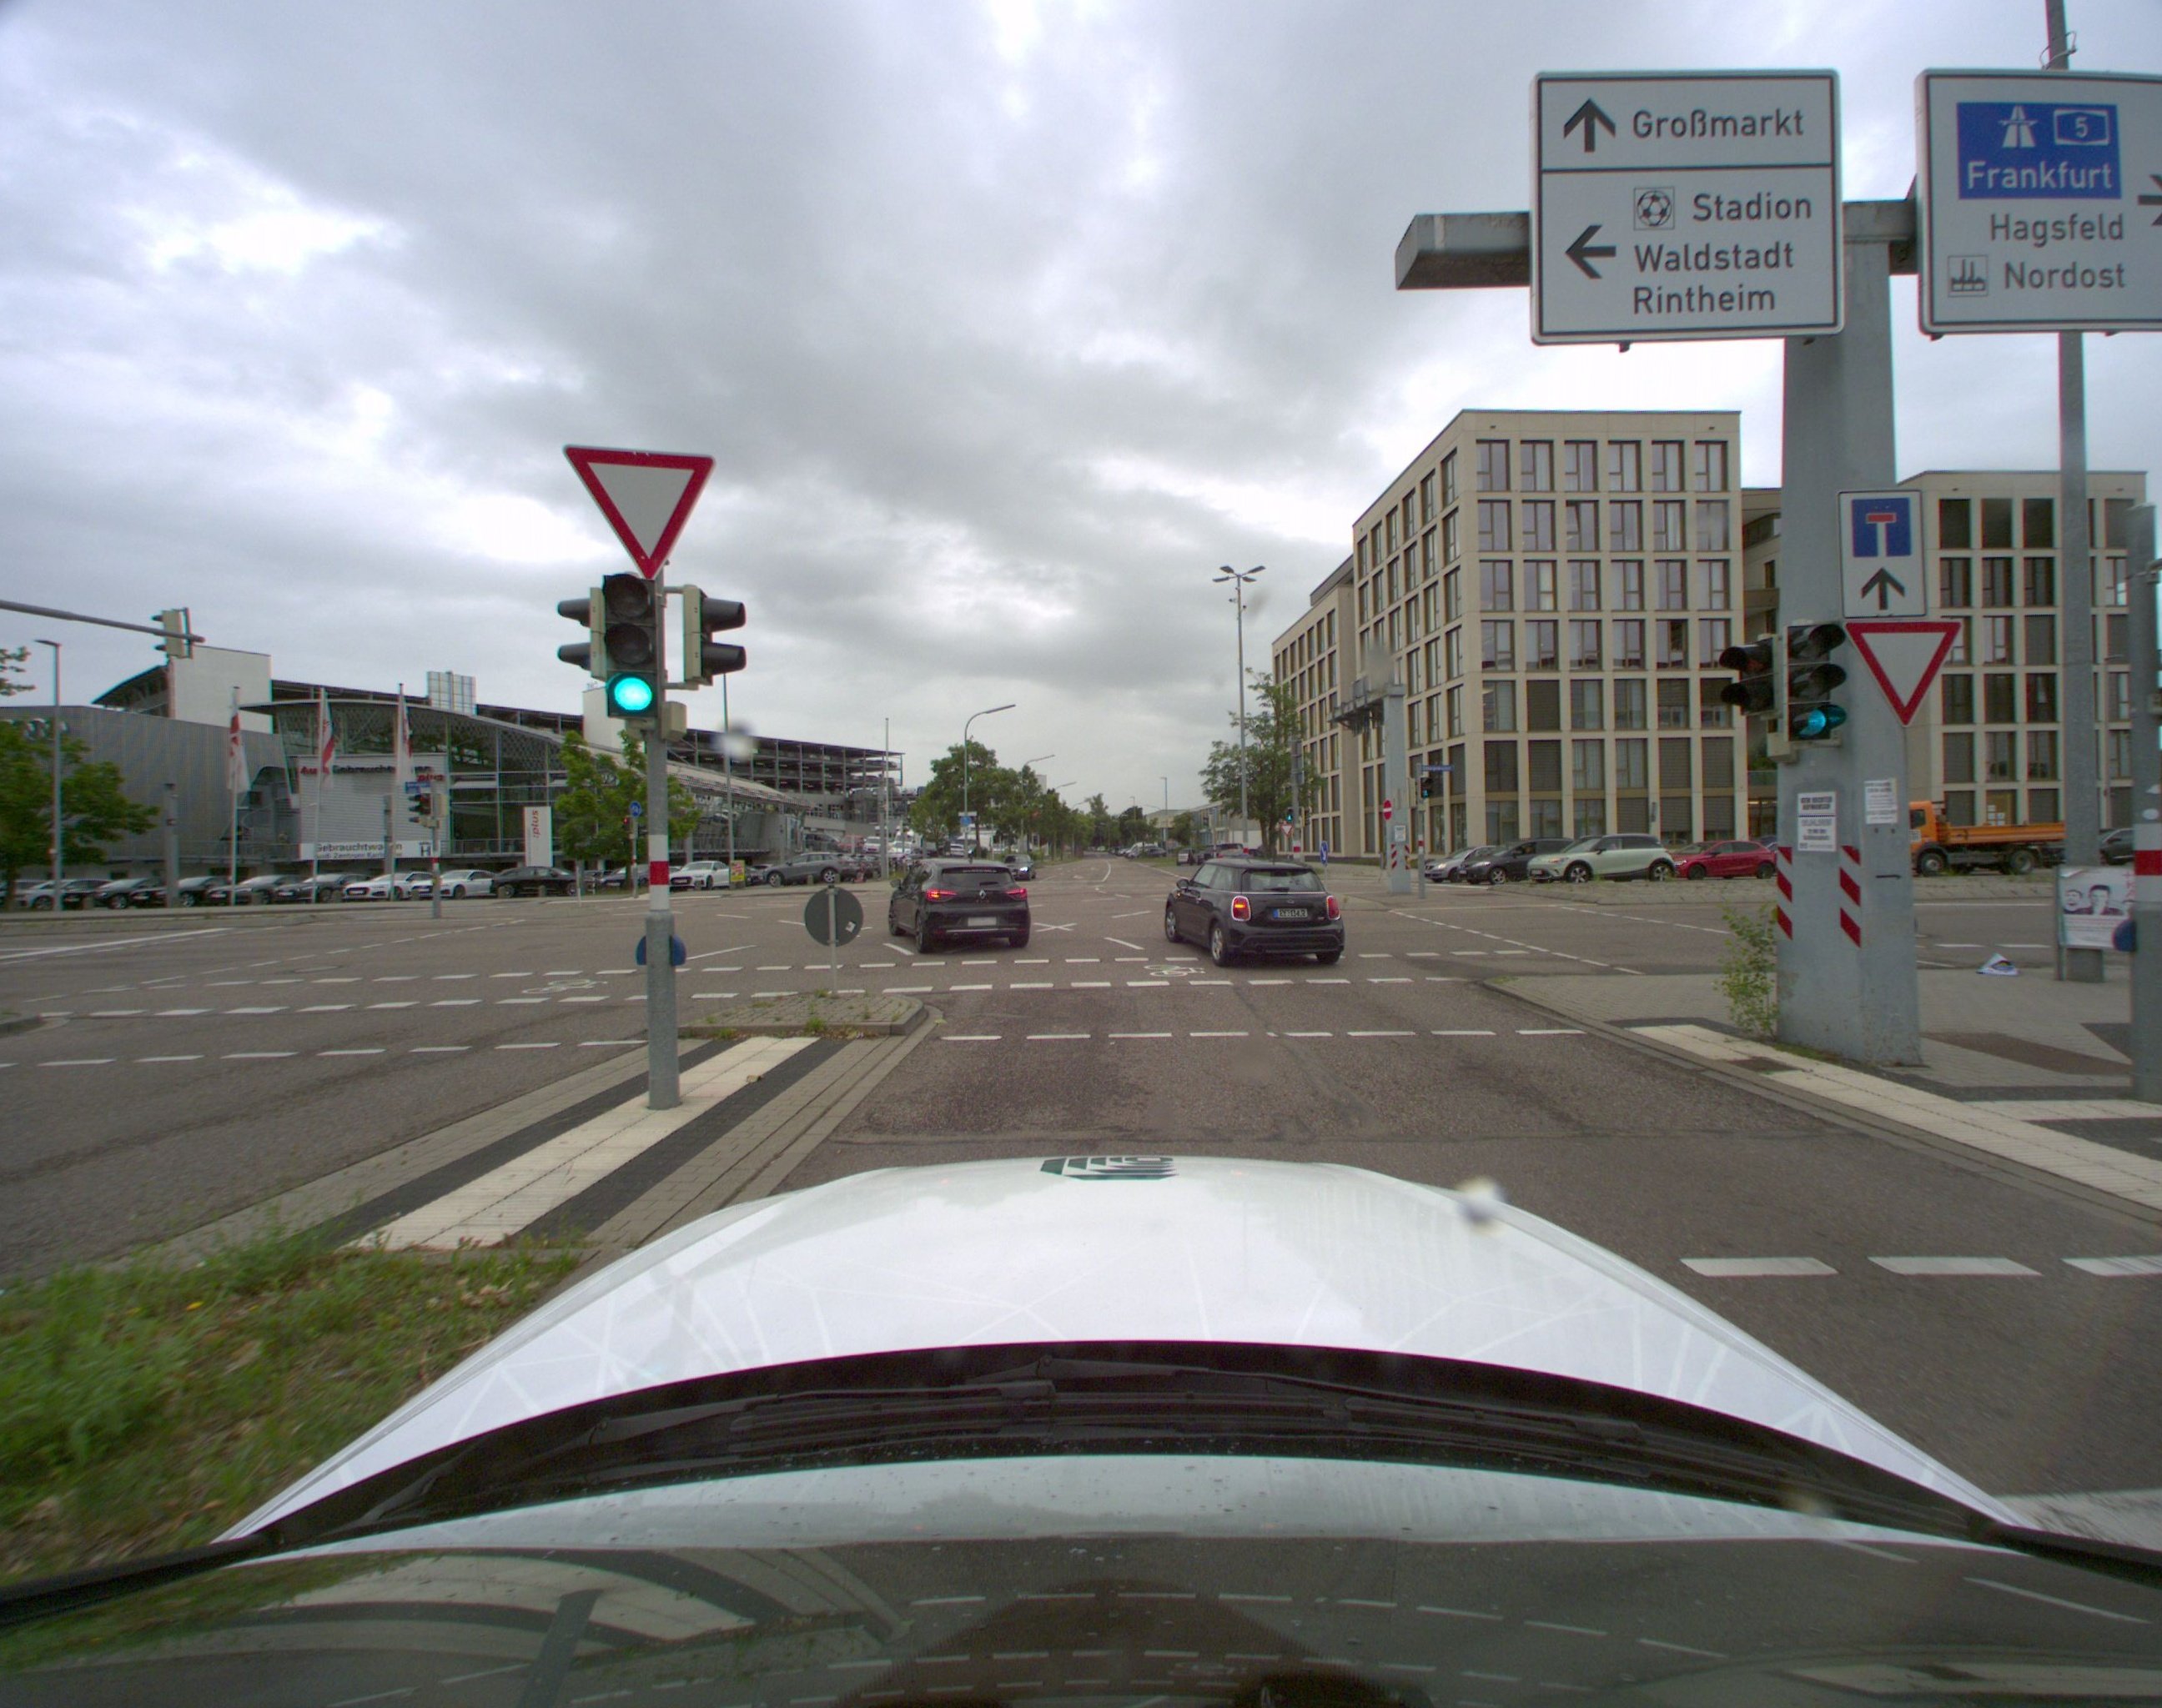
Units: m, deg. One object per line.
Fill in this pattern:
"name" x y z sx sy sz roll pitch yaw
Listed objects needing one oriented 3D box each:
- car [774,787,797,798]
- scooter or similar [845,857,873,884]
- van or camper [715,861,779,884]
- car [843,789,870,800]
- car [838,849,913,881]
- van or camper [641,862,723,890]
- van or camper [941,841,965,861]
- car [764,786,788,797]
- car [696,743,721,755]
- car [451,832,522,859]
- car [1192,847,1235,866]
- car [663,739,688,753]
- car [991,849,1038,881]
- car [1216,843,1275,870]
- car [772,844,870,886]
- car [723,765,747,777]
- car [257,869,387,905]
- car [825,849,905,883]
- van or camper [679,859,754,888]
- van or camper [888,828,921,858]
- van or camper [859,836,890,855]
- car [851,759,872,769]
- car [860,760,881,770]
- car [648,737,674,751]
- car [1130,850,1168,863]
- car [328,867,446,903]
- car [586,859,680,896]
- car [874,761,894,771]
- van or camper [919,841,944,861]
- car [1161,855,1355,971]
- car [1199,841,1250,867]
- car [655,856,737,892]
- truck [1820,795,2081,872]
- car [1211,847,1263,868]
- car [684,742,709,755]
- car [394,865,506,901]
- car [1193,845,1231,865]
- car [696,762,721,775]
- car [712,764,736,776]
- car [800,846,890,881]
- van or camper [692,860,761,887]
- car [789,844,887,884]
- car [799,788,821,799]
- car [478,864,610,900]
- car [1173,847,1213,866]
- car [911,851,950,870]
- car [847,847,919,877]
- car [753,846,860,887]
"car" -54.567 -11.318 150.412 3.948 1.667 2.013 0 0 33
"scooter or similar" -10.775 0.783 39.513 0.553 1.218 1.566 1 1 15
"van or camper" -24.841 1.372 60.626 3.978 1.711 1.845 0 -1 -3
"car" -46.033 -12.088 166.655 5.263 1.945 2.224 0 0 29
"car" -14.701 0.804 58.467 4.883 2.013 1.997 -3 -1 -4
"van or camper" -24.336 1.309 49.773 3.978 1.677 1.998 0 -1 -3
"van or camper" -13.535 -0.318 86.135 1.989 2.014 3.996 0 -1 -2
"car" -55.622 -11.344 148.452 3.948 1.667 2.013 0 0 33
"car" -62.879 -17.746 137.632 3.948 1.667 2.013 0 0 33
"car" -38.726 -0.536 53.166 1.816 1.662 3.994 0 -1 -4
"car" 11.220 0.187 68.620 1.676 1.511 3.840 -2 -1 44
"car" -66.246 -17.601 133.008 3.948 1.667 2.013 0 0 33
"car" -3.522 0.553 44.093 1.971 1.551 4.616 -1 0 2
"car" 11.642 0.170 57.621 4.154 1.768 1.867 -1 -1 -39
"car" -14.218 0.594 44.794 4.691 2.013 1.997 -3 -1 -4
"car" -60.066 -14.368 141.474 3.948 1.667 2.013 0 0 33
"car" -33.643 1.487 36.271 1.860 1.486 4.228 -1 -3 -2
"car" -14.754 0.801 55.746 4.883 2.013 1.997 -3 -1 -4
"van or camper" -23.583 1.249 52.795 3.978 1.816 1.845 0 -1 -3
"van or camper" -18.574 -1.099 86.019 2.529 3.026 4.839 0 -1 -3
"van or camper" -18.916 -0.725 74.654 1.989 1.651 3.996 0 -1 -3
"car" -44.904 -18.402 166.249 3.948 1.667 2.013 0 0 33
"car" -43.452 -18.368 168.342 3.948 1.667 2.013 0 0 33
"car" -67.417 -17.633 130.845 3.948 1.667 2.013 0 0 33
"car" 9.533 0.381 114.745 5.159 1.720 2.142 0 -1 -2
"car" -30.896 1.409 36.449 1.866 1.486 4.040 -1 -3 -2
"car" -20.495 1.109 37.503 2.059 1.486 4.509 -3 -3 -4
"car" -41.516 -18.488 171.677 3.948 1.667 2.013 0 0 33
"van or camper" -15.732 -0.328 85.968 1.989 2.014 3.996 0 -1 -2
"car" 2.433 0.746 12.141 1.784 1.415 3.635 0 0 -6
"car" 11.541 -0.016 65.215 1.975 1.965 4.271 -2 -1 43
"car" -17.691 0.946 37.663 1.864 1.486 4.226 -2 -2 -2
"truck" 31.390 -0.696 29.597 6.635 2.638 2.819 0 -1 -2
"car" 11.898 0.233 62.007 4.157 1.551 1.865 -1 -1 -44
"car" -63.980 -17.562 135.461 3.948 1.667 2.013 0 0 33
"car" -28.336 1.328 36.766 1.841 1.486 4.194 -1 -3 -2
"car" 11.798 0.124 73.323 3.452 1.798 1.572 1 -1 -41
"car" -62.775 -14.423 137.361 3.948 1.667 2.013 0 0 33
"car" -61.129 -14.392 139.496 3.948 1.667 2.013 0 0 33
"car" -14.548 0.588 50.436 4.939 1.876 2.050 -3 -1 -6
"van or camper" -24.855 1.345 57.150 3.978 1.816 1.845 0 -1 -3
"car" -14.179 0.569 47.802 5.012 2.013 2.263 -3 -1 -4
"car" -51.603 -11.483 155.033 3.948 1.667 2.013 0 0 33
"car" -24.545 1.286 37.357 4.727 1.486 1.891 -2 -3 -2
"car" 10.308 0.273 74.944 3.452 1.732 1.745 1 -1 -41
"car" -16.670 0.699 90.205 3.976 2.014 1.998 0 -1 -2
"car" -14.862 0.603 61.302 4.883 2.013 1.997 -3 -1 -4
"car" -14.164 0.641 42.223 4.762 1.863 1.997 -3 -1 -4
